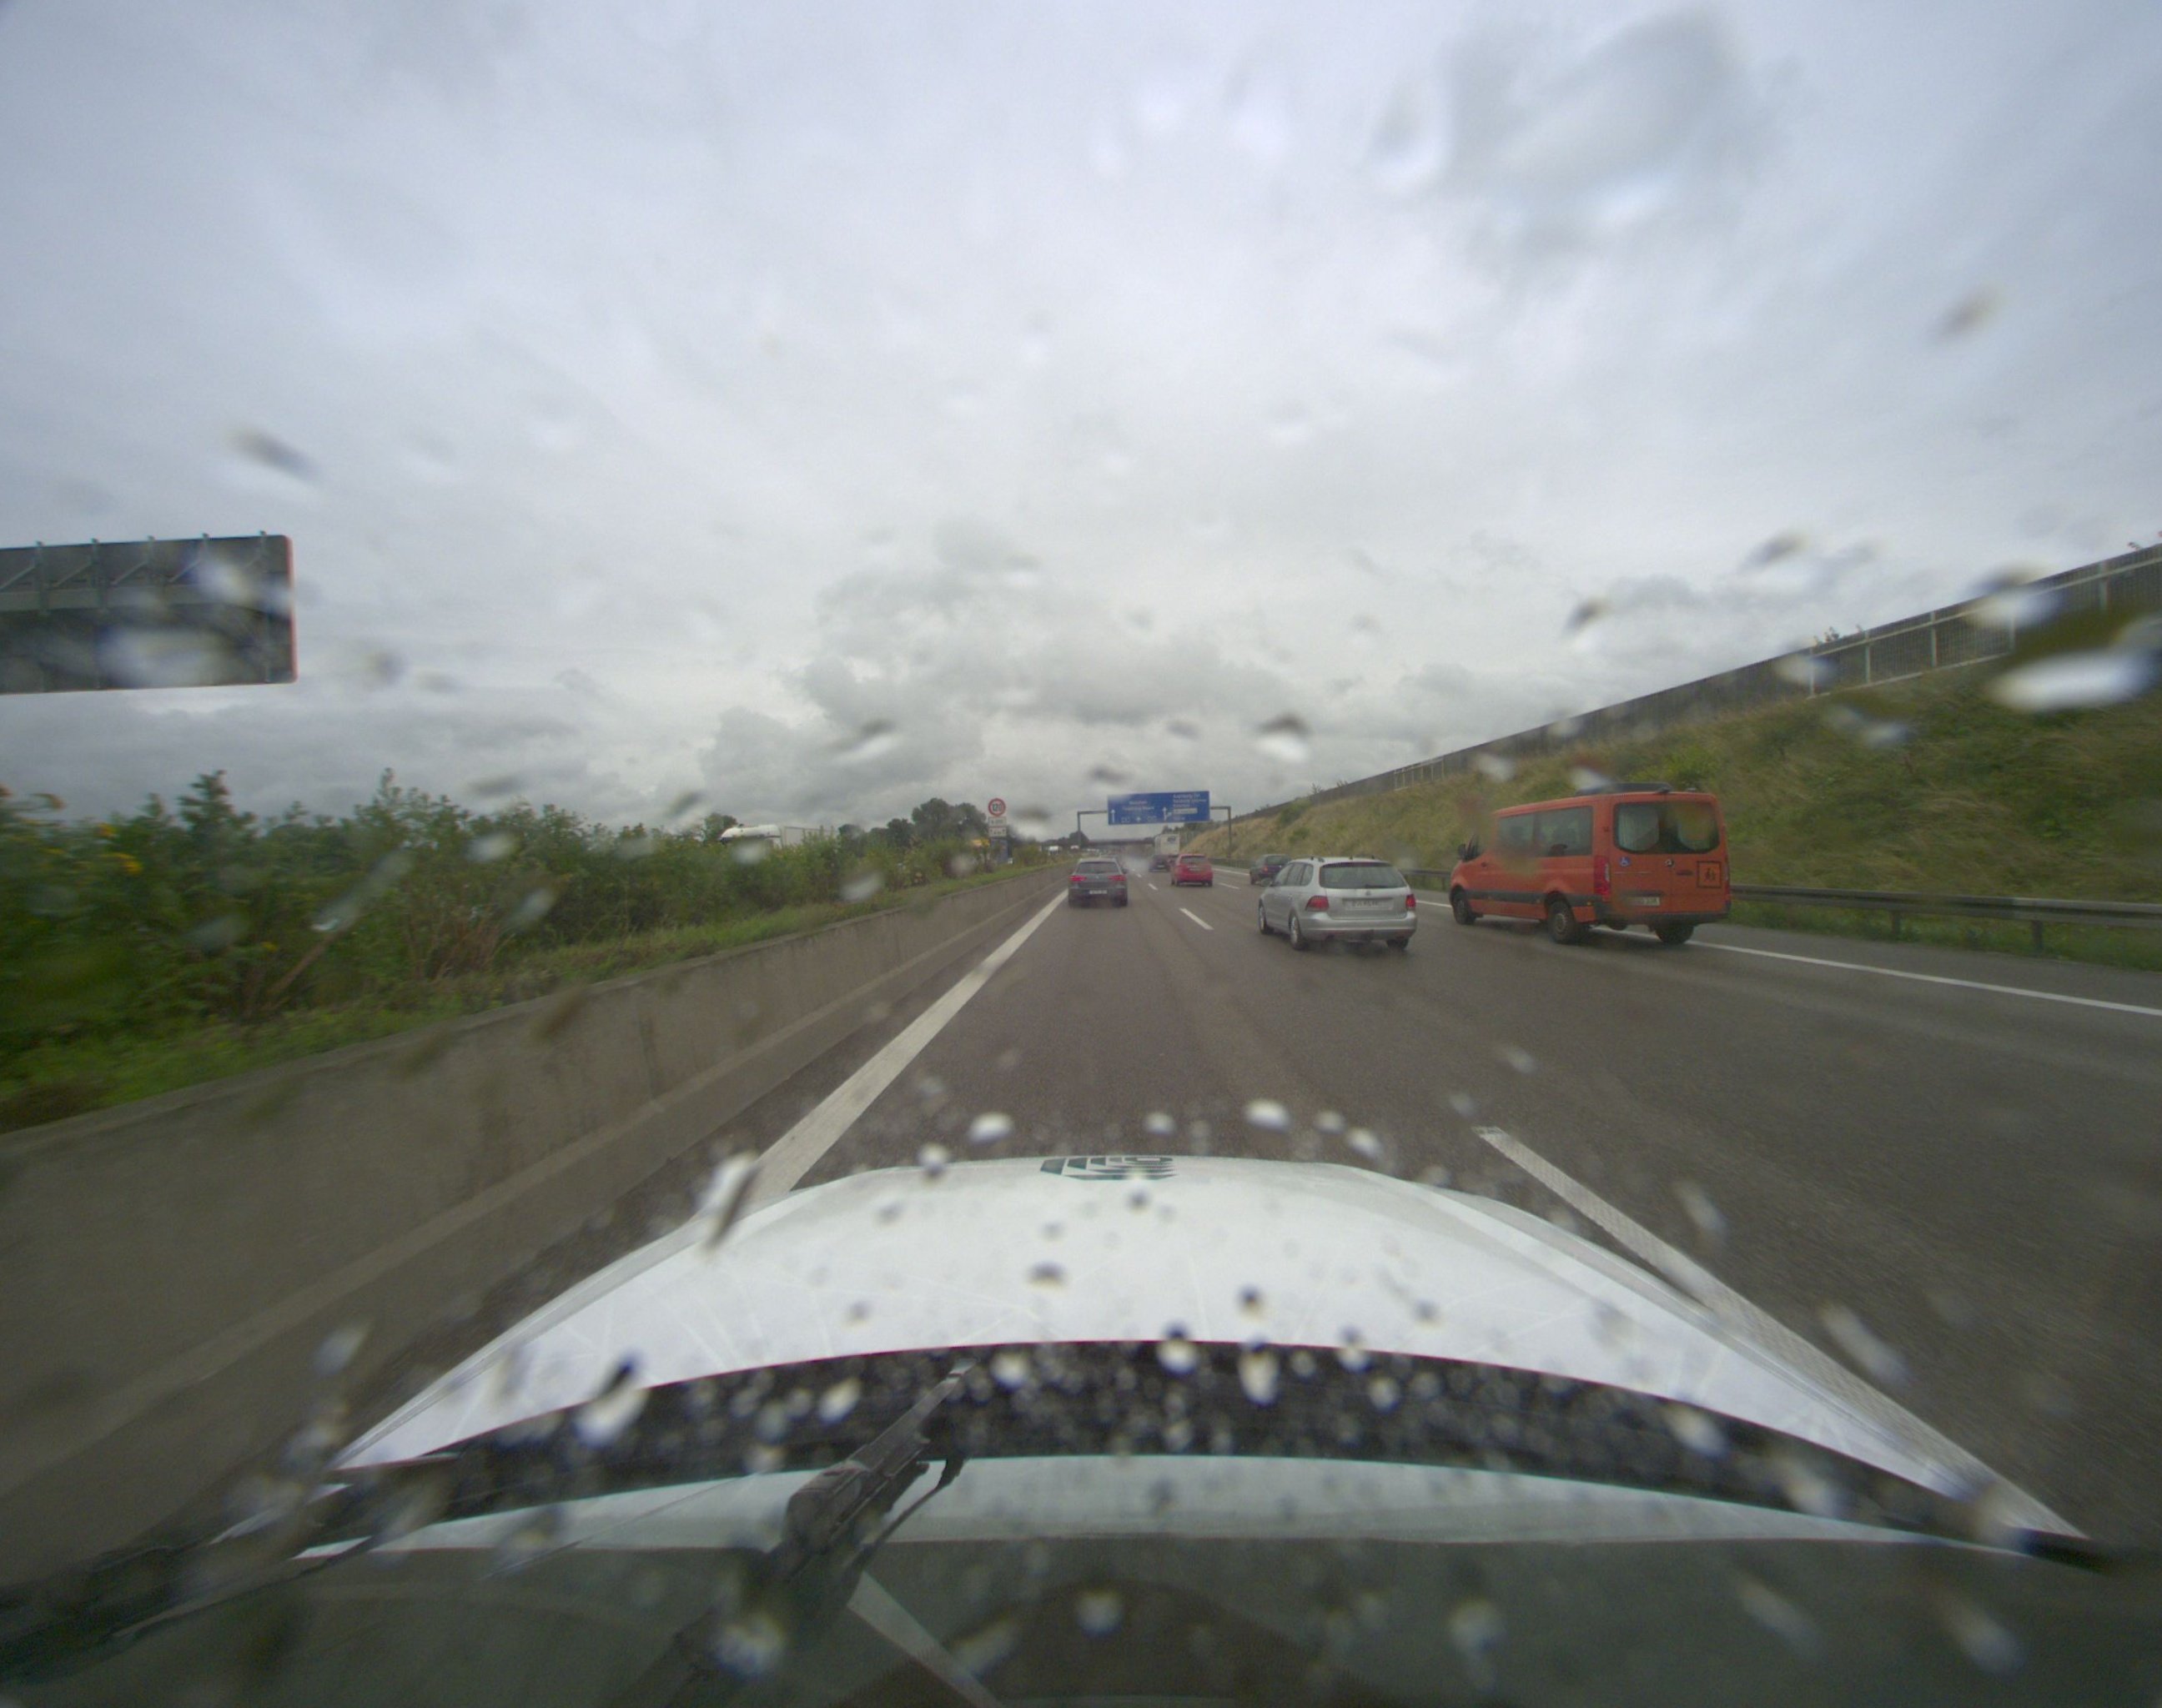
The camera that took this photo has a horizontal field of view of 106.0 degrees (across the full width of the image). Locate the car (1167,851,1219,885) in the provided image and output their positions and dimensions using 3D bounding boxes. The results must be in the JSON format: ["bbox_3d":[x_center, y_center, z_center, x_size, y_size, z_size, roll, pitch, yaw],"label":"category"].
[{"bbox_3d":[5.224,0.616,38.511,1.884,1.446,4.686,-1,0,2],"label":"car"}]

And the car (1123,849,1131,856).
[{"bbox_3d":[13.161,-0.500,233.494,1.987,2.013,3.999,-2,0,-1],"label":"car"}]

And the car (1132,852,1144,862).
[{"bbox_3d":[9.989,0.483,143.092,1.839,1.687,4.000,0,0,1],"label":"car"}]

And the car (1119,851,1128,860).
[{"bbox_3d":[10.026,0.375,191.325,1.985,2.014,4.244,0,0,3],"label":"car"}]

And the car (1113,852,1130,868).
[{"bbox_3d":[4.657,0.668,93.307,1.699,1.796,3.855,-3,0,1],"label":"car"}]

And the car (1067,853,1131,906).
[{"bbox_3d":[0.550,0.727,24.734,1.762,1.467,4.001,0,0,1],"label":"car"}]

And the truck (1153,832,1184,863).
[{"bbox_3d":[12.828,-0.863,121.009,3.271,4.295,19.040,0,0,2],"label":"truck"}]

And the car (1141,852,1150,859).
[{"bbox_3d":[17.721,0.471,223.876,1.987,1.860,4.390,-2,0,0],"label":"car"}]

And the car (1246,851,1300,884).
[{"bbox_3d":[8.710,0.601,37.309,1.696,1.401,3.877,0,0,2],"label":"car"}]

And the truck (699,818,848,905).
[{"bbox_3d":[-15.560,0.384,42.518,3.170,3.967,10.819,0,0,3],"label":"truck"}]

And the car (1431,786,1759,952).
[{"bbox_3d":[8.643,0.202,14.682,2.078,2.315,6.182,-1,0,1],"label":"car"}]

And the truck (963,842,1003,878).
[{"bbox_3d":[-12.692,0.765,106.721,3.399,4.364,10.997,0,0,3],"label":"truck"}]

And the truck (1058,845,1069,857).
[{"bbox_3d":[-4.200,-0.689,196.696,2.302,2.908,7.429,0,0,3],"label":"truck"}]

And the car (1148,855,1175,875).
[{"bbox_3d":[6.524,0.844,66.618,1.914,1.522,4.624,-1,0,2],"label":"car"}]

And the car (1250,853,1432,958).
[{"bbox_3d":[4.145,0.730,13.789,1.735,1.425,4.519,-2,0,2],"label":"car"}]

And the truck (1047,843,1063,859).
[{"bbox_3d":[-7.098,-0.685,223.670,3.601,4.274,7.597,0,0,3],"label":"truck"}]

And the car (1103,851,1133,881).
[{"bbox_3d":[2.242,0.731,49.375,1.747,1.750,4.002,0,0,2],"label":"car"}]
